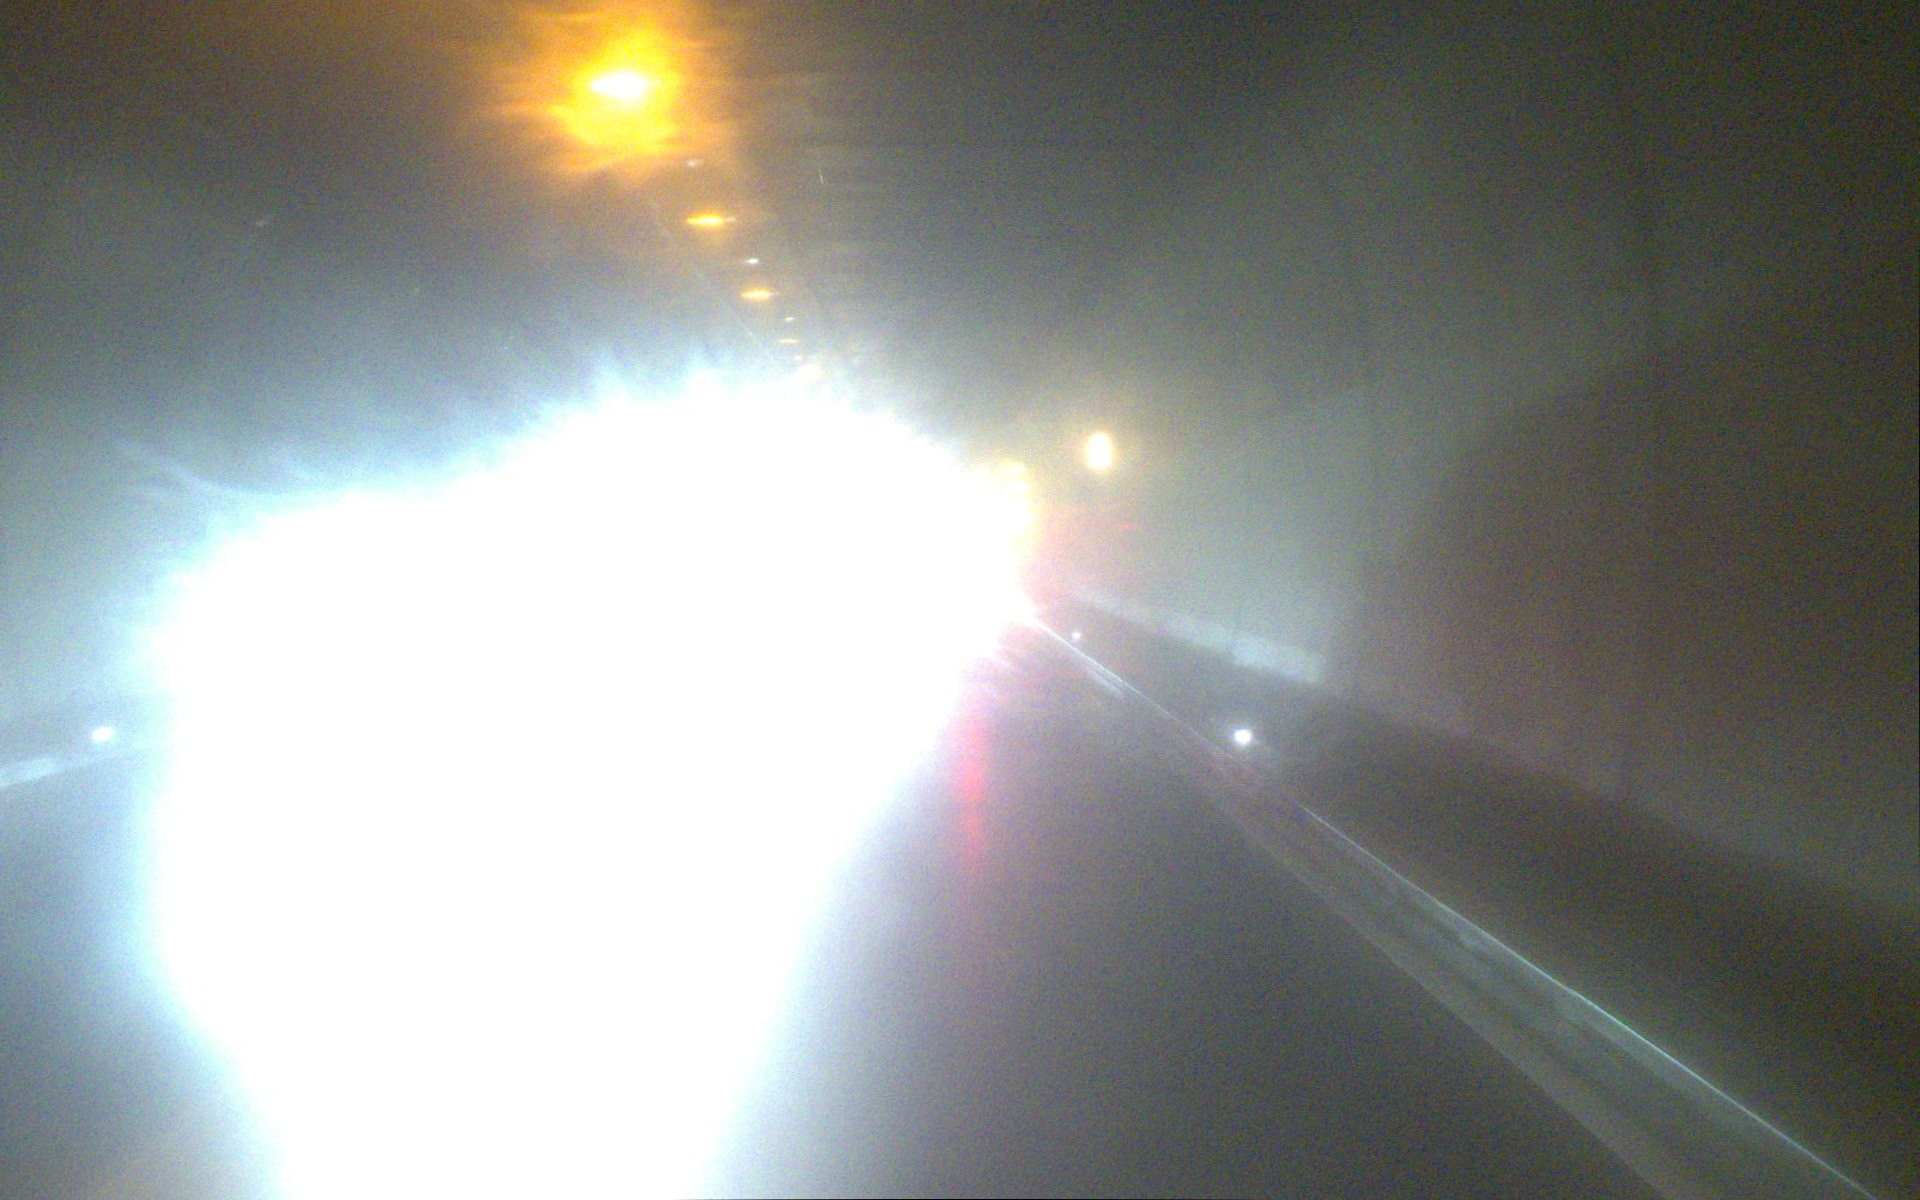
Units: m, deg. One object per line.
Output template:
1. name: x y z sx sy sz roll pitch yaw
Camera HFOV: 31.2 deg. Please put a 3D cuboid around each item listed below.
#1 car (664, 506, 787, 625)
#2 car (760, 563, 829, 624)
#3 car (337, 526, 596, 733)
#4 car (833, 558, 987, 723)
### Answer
1. car: -3.963 -0.593 58.713 1.781 1.922 5.138 0 1 -1
2. car: -4.683 -0.217 97.867 1.781 1.670 4.561 0 1 -1
3. car: -4.114 0.205 29.225 1.635 1.622 4.146 0 1 -1
4. car: -0.553 0.412 38.860 1.635 1.752 4.146 0 1 -1
